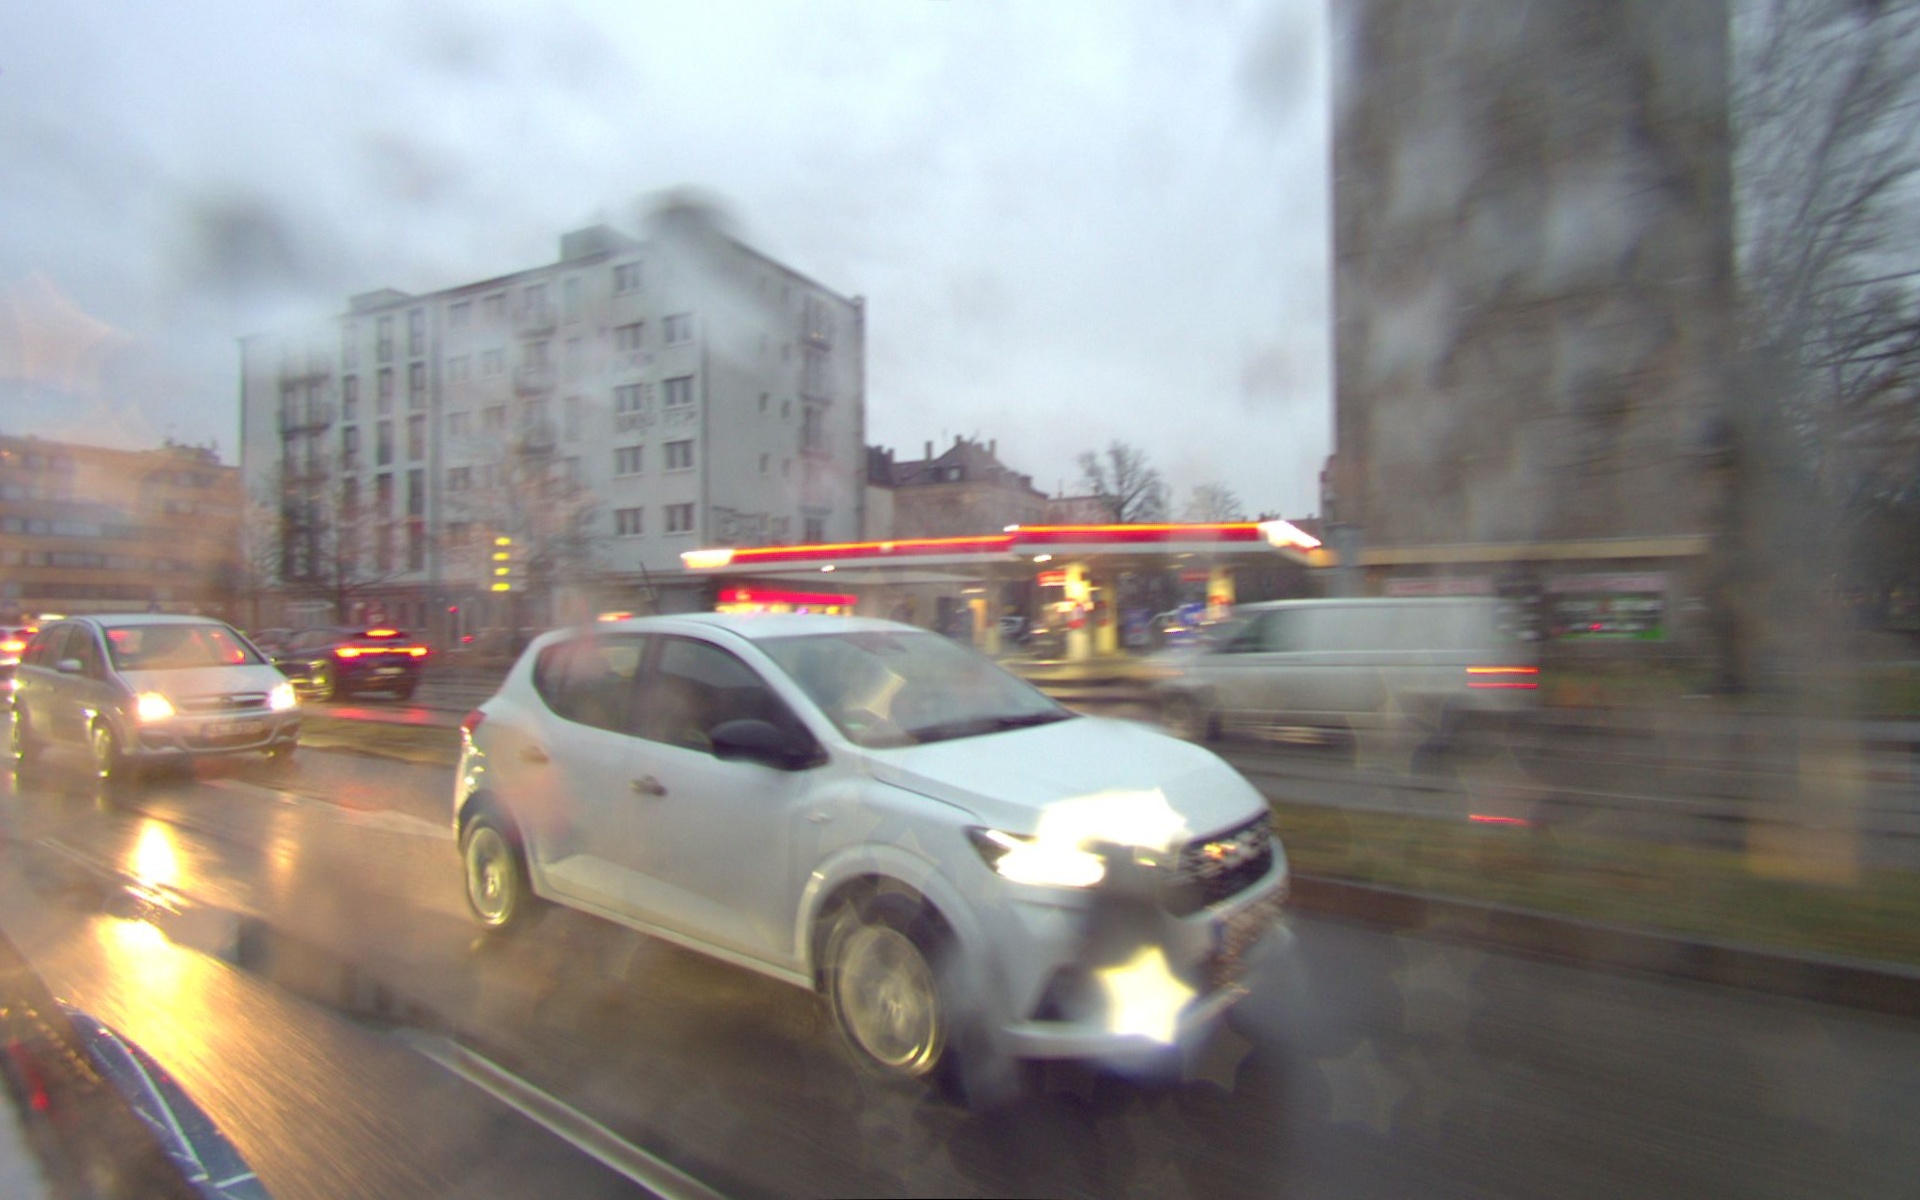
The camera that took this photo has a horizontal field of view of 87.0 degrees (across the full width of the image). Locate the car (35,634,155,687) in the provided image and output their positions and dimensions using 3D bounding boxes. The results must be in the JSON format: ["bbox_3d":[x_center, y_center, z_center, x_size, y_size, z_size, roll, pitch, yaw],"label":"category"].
[{"bbox_3d":[-25.884,1.792,30.249,3.987,1.498,1.632,-2,-3,33],"label":"car"}]

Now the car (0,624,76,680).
[{"bbox_3d":[-31.991,1.742,34.119,4.515,1.796,1.949,-2,-3,30],"label":"car"}]

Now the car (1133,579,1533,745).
[{"bbox_3d":[4.991,0.820,13.916,4.827,1.961,1.983,-1,-4,26],"label":"car"}]

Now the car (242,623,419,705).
[{"bbox_3d":[-13.887,1.367,22.242,4.649,1.643,1.631,-2,-3,35],"label":"car"}]

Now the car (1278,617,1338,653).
[{"bbox_3d":[15.651,1.557,45.429,1.990,1.541,3.963,-1,-2,27],"label":"car"}]

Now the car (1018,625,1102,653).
[{"bbox_3d":[5.267,2.024,53.154,3.980,1.391,1.944,-1,-2,28],"label":"car"}]

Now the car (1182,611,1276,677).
[{"bbox_3d":[7.017,1.103,26.146,1.768,1.542,3.968,-1,-2,23],"label":"car"}]

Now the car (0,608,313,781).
[{"bbox_3d":[-8.853,0.903,10.943,4.097,1.560,1.632,-2,-1,33],"label":"car"}]

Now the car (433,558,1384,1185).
[{"bbox_3d":[-0.519,0.727,4.326,3.995,1.498,1.610,-2,-3,39],"label":"car"}]

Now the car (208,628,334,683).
[{"bbox_3d":[-20.924,1.667,30.688,4.267,1.579,1.632,-2,-3,33],"label":"car"}]
